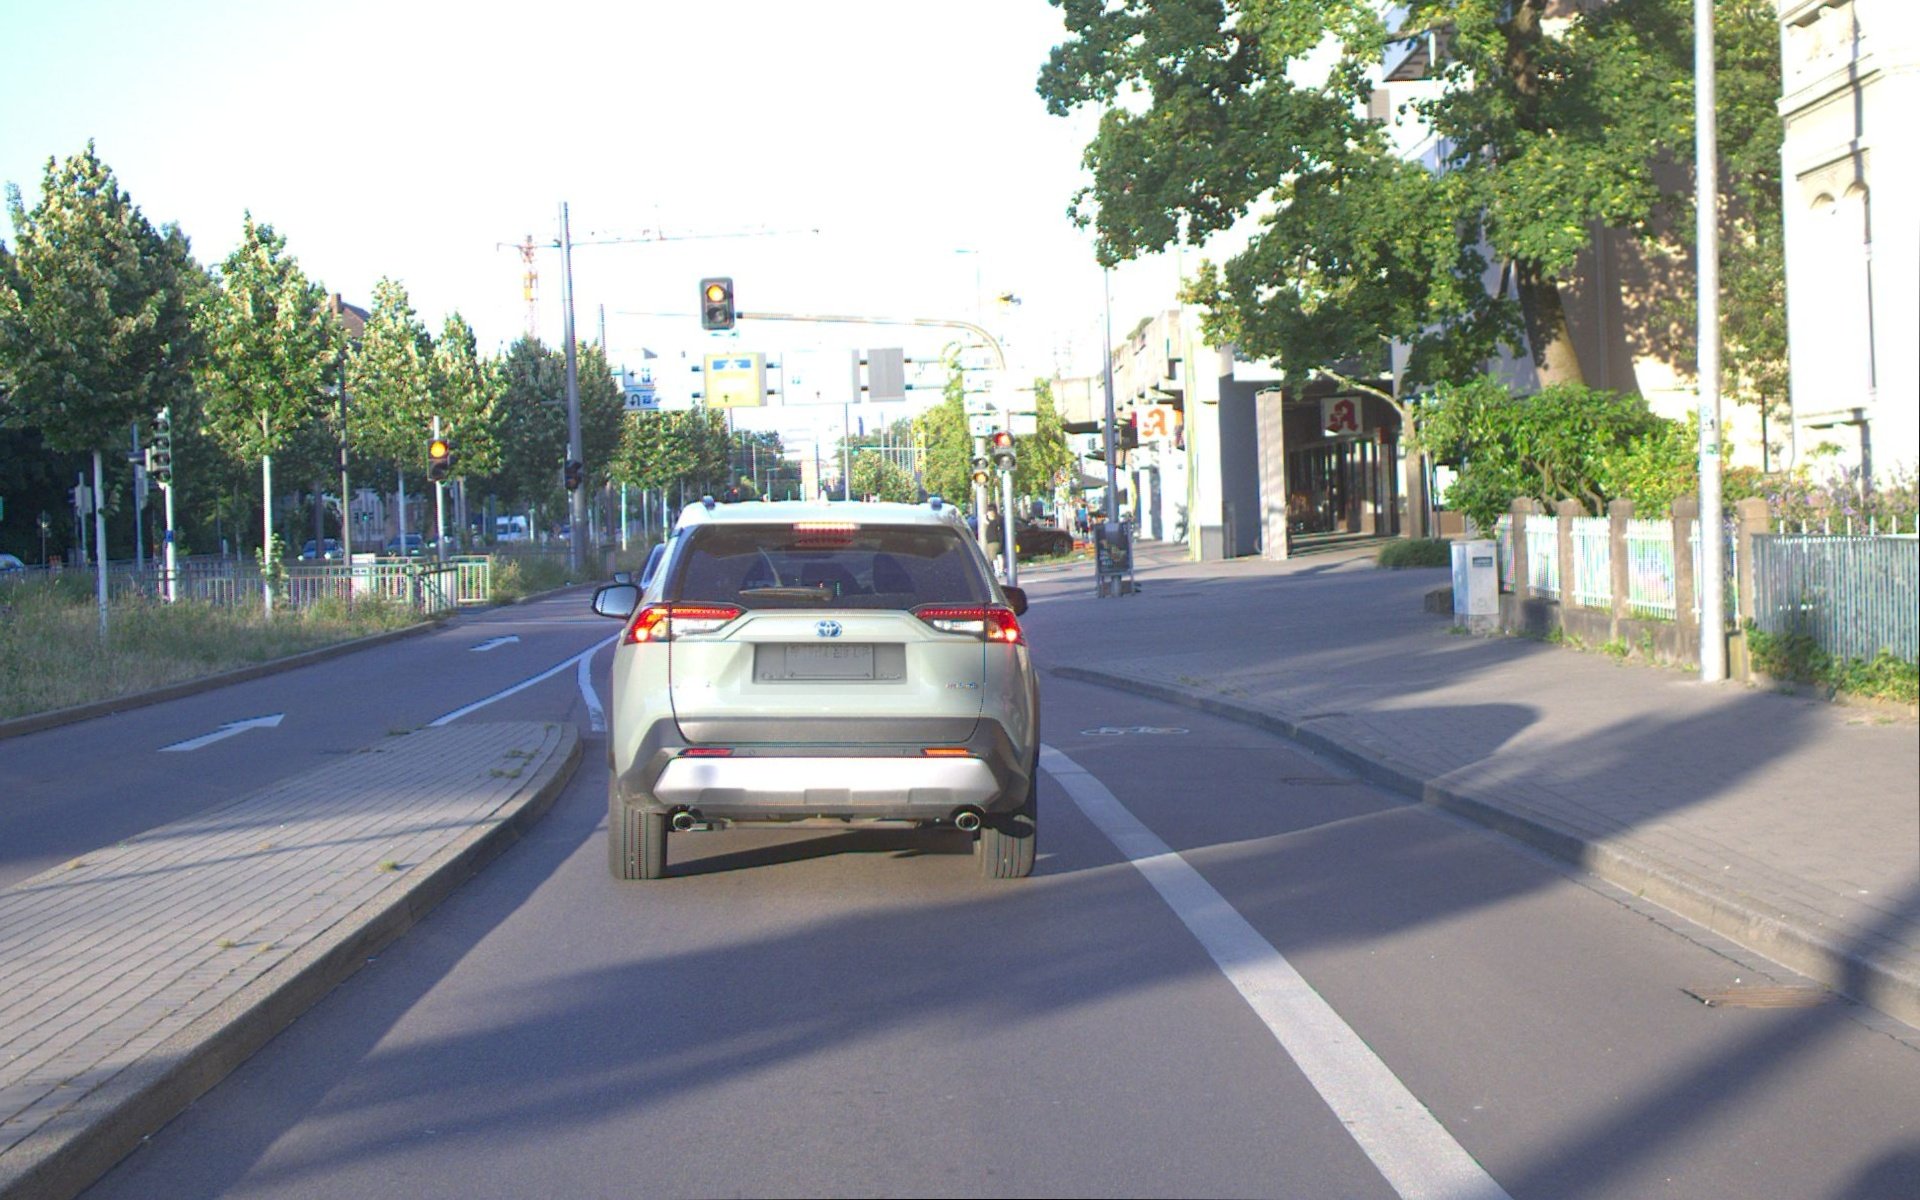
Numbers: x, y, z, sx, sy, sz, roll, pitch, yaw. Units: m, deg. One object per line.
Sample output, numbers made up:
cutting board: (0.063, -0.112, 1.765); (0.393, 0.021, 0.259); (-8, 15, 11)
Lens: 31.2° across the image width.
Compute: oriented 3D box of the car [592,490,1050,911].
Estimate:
car: (-0.655, 0.350, 16.072); (1.857, 1.708, 4.193); (0, 2, -3)

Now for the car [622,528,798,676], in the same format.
car: (-2.762, -0.020, 38.683); (1.857, 1.546, 4.110); (0, 2, -3)
